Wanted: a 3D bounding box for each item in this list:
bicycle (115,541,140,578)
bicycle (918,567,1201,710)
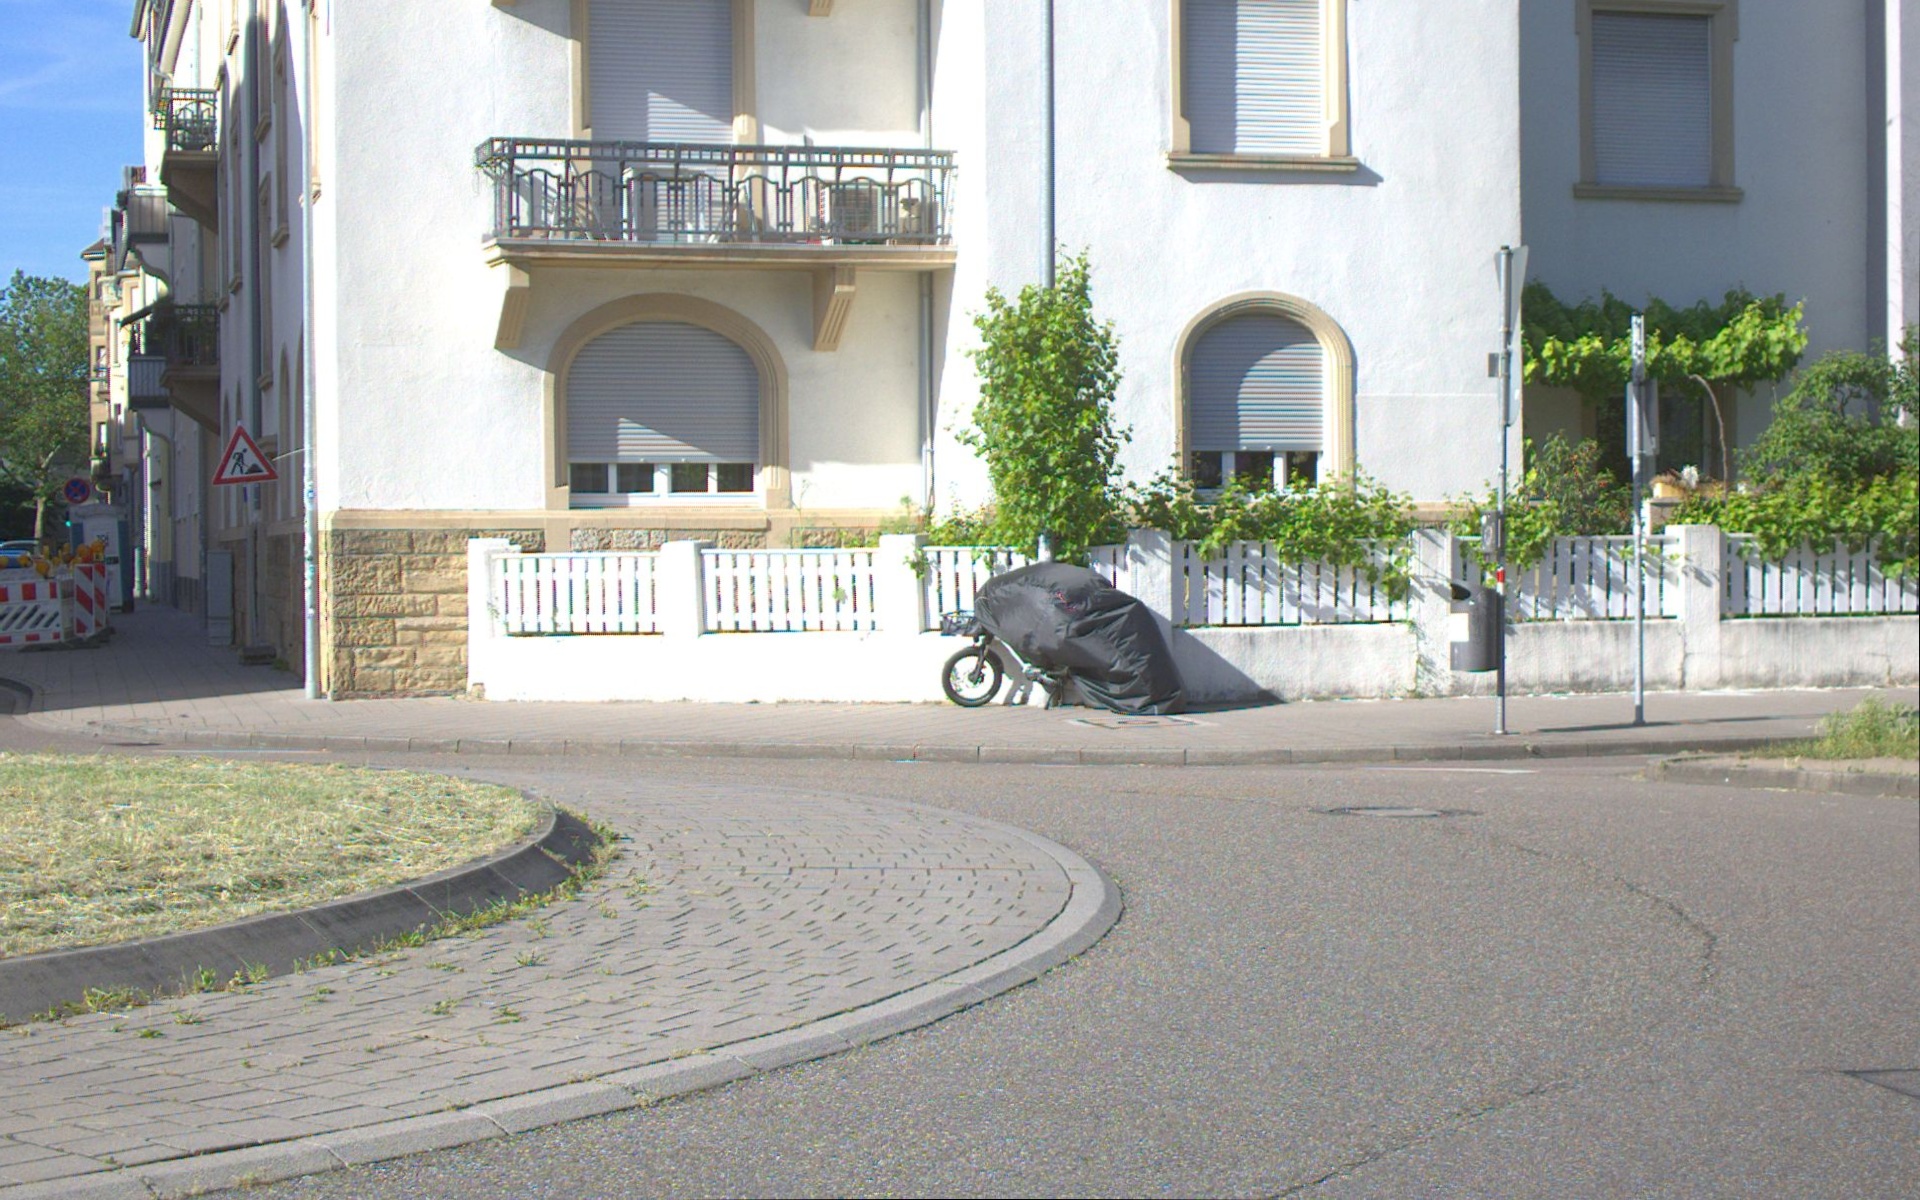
[{"bbox_3d":[-28.289,-1.374,116.800,0.761,1.242,2.592,0,1,-15],"label":"bicycle"},{"bbox_3d":[0.833,0.312,29.136,2.282,1.153,0.765,1,1,28],"label":"bicycle"}]
